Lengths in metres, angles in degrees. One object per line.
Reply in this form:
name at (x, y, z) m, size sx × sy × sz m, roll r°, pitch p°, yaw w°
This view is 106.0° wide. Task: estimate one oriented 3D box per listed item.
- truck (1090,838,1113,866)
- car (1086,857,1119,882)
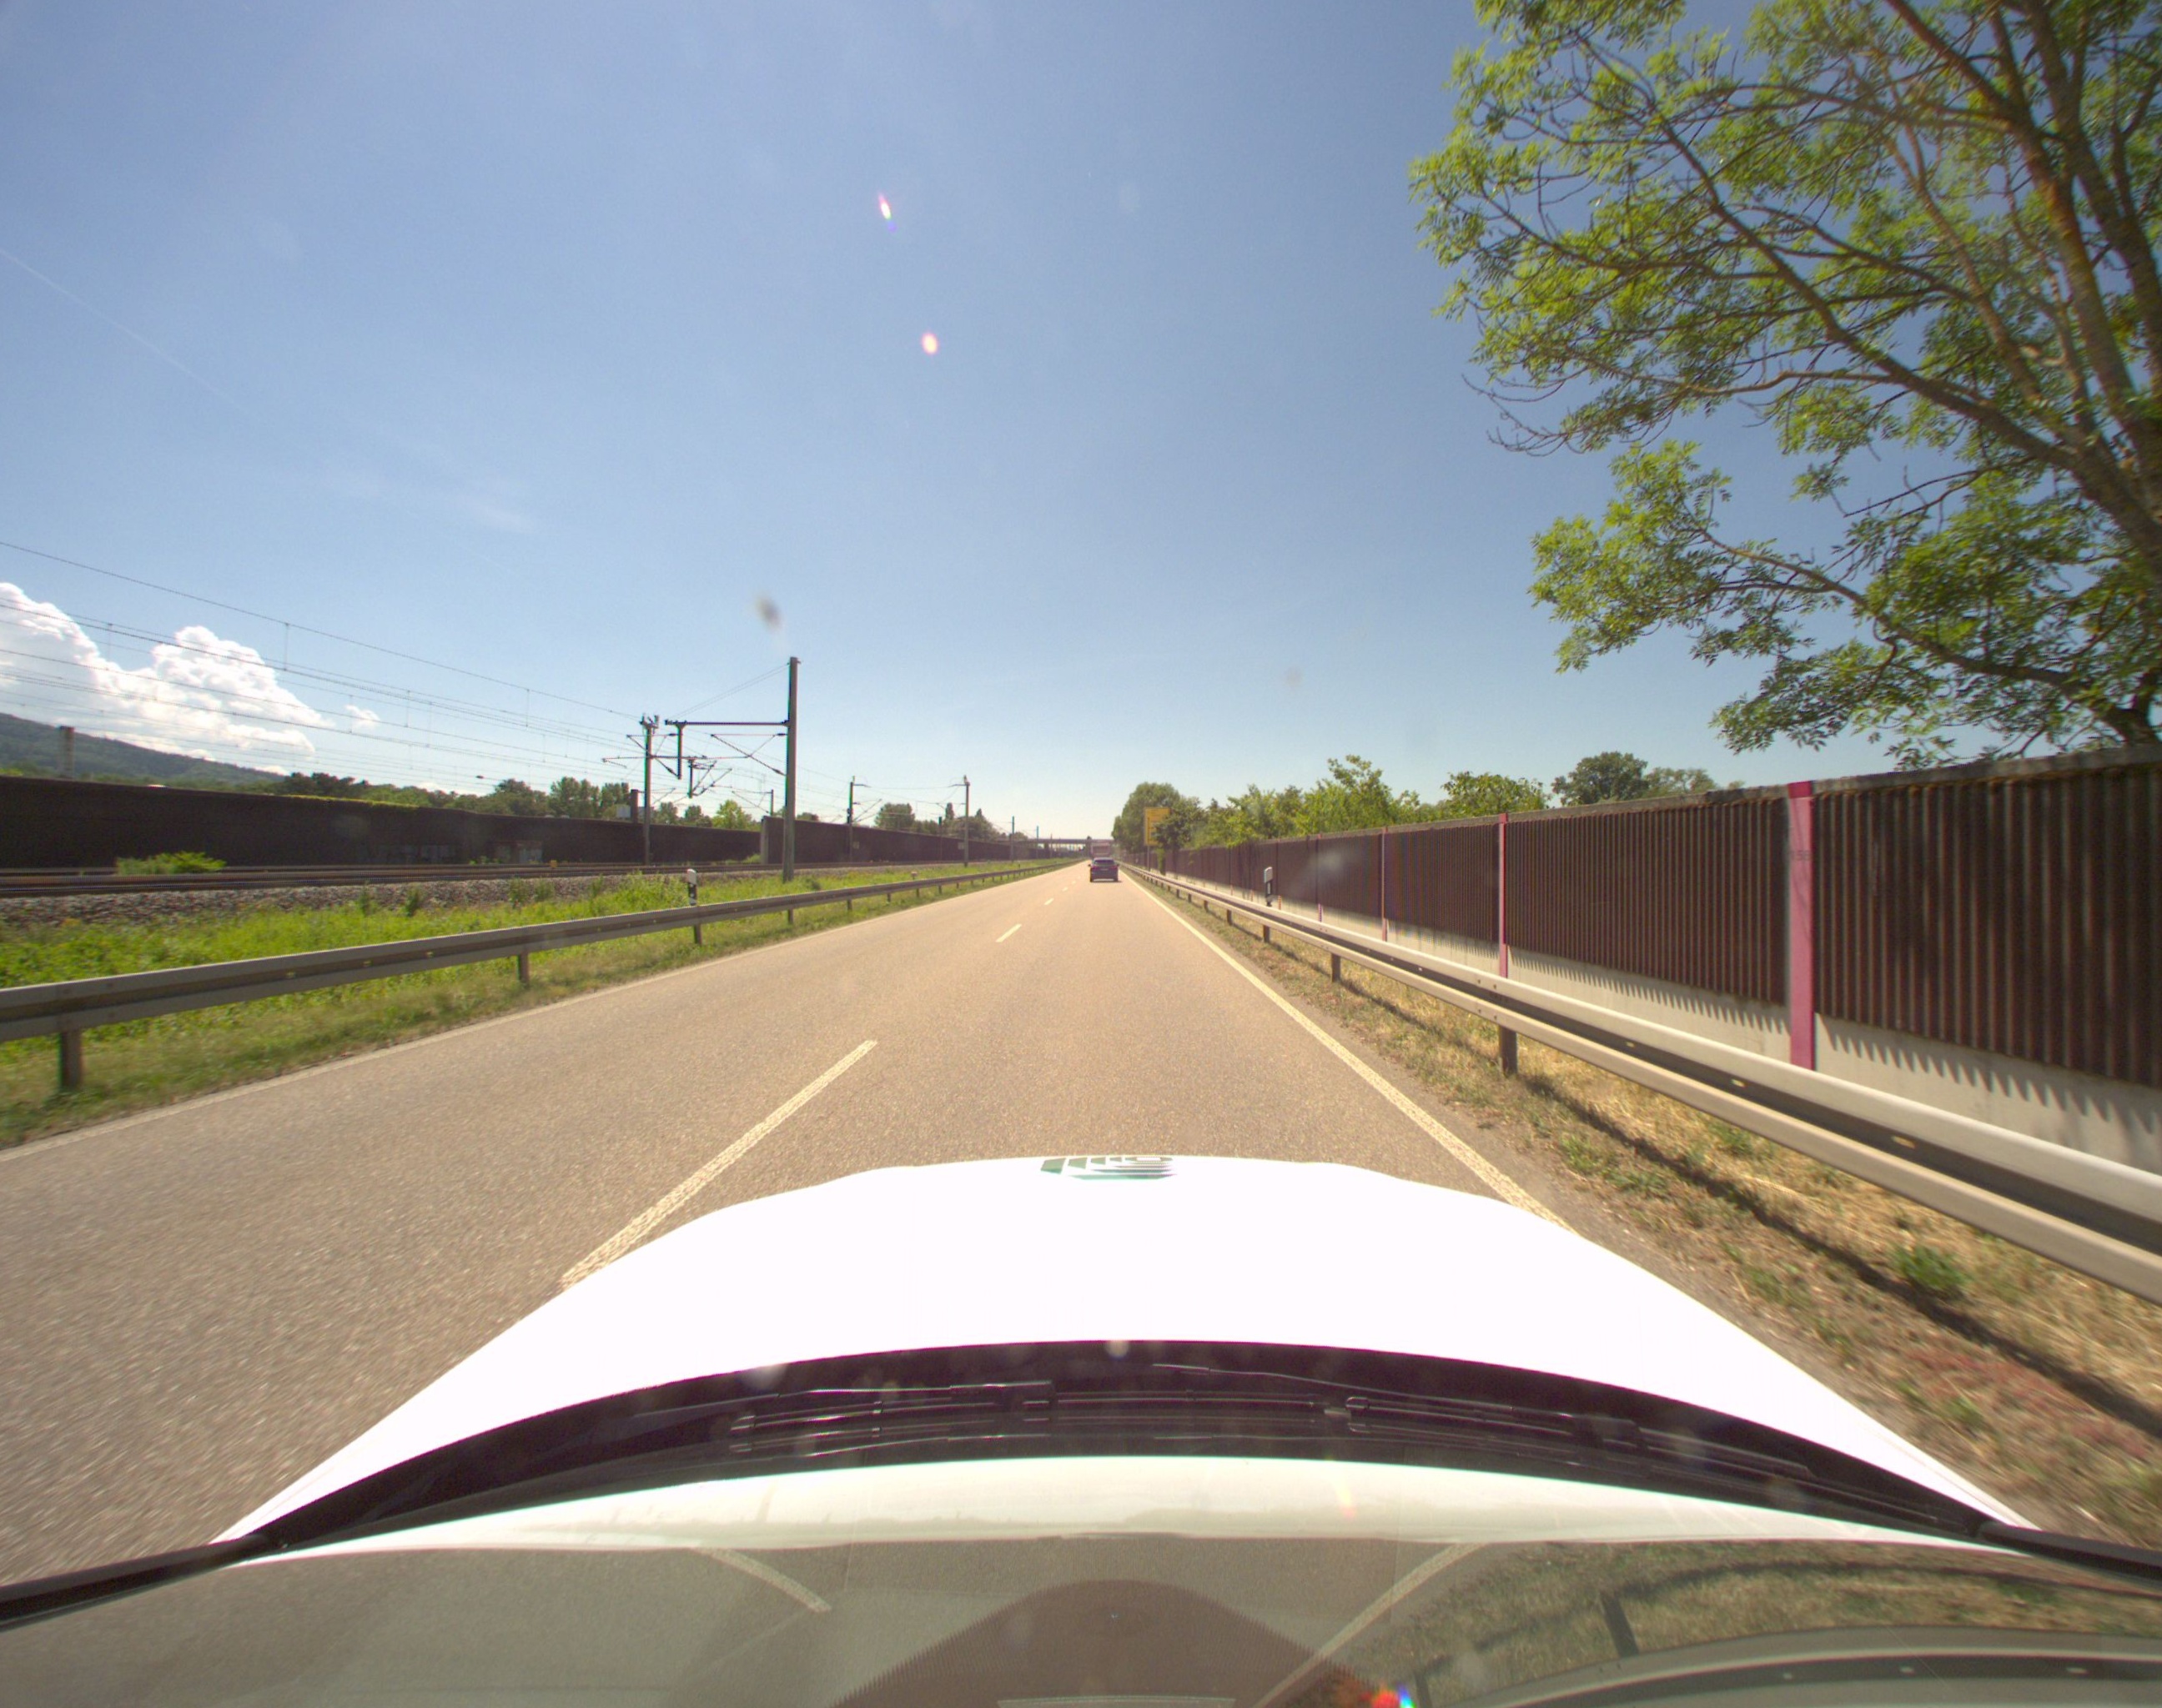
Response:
truck at (2.715, -0.229, 104.960) m, size 2.760 × 3.425 × 10.823 m, roll -1°, pitch 0°, yaw 2°
car at (1.379, 0.947, 52.834) m, size 1.987 × 1.508 × 3.999 m, roll -1°, pitch 0°, yaw 0°
